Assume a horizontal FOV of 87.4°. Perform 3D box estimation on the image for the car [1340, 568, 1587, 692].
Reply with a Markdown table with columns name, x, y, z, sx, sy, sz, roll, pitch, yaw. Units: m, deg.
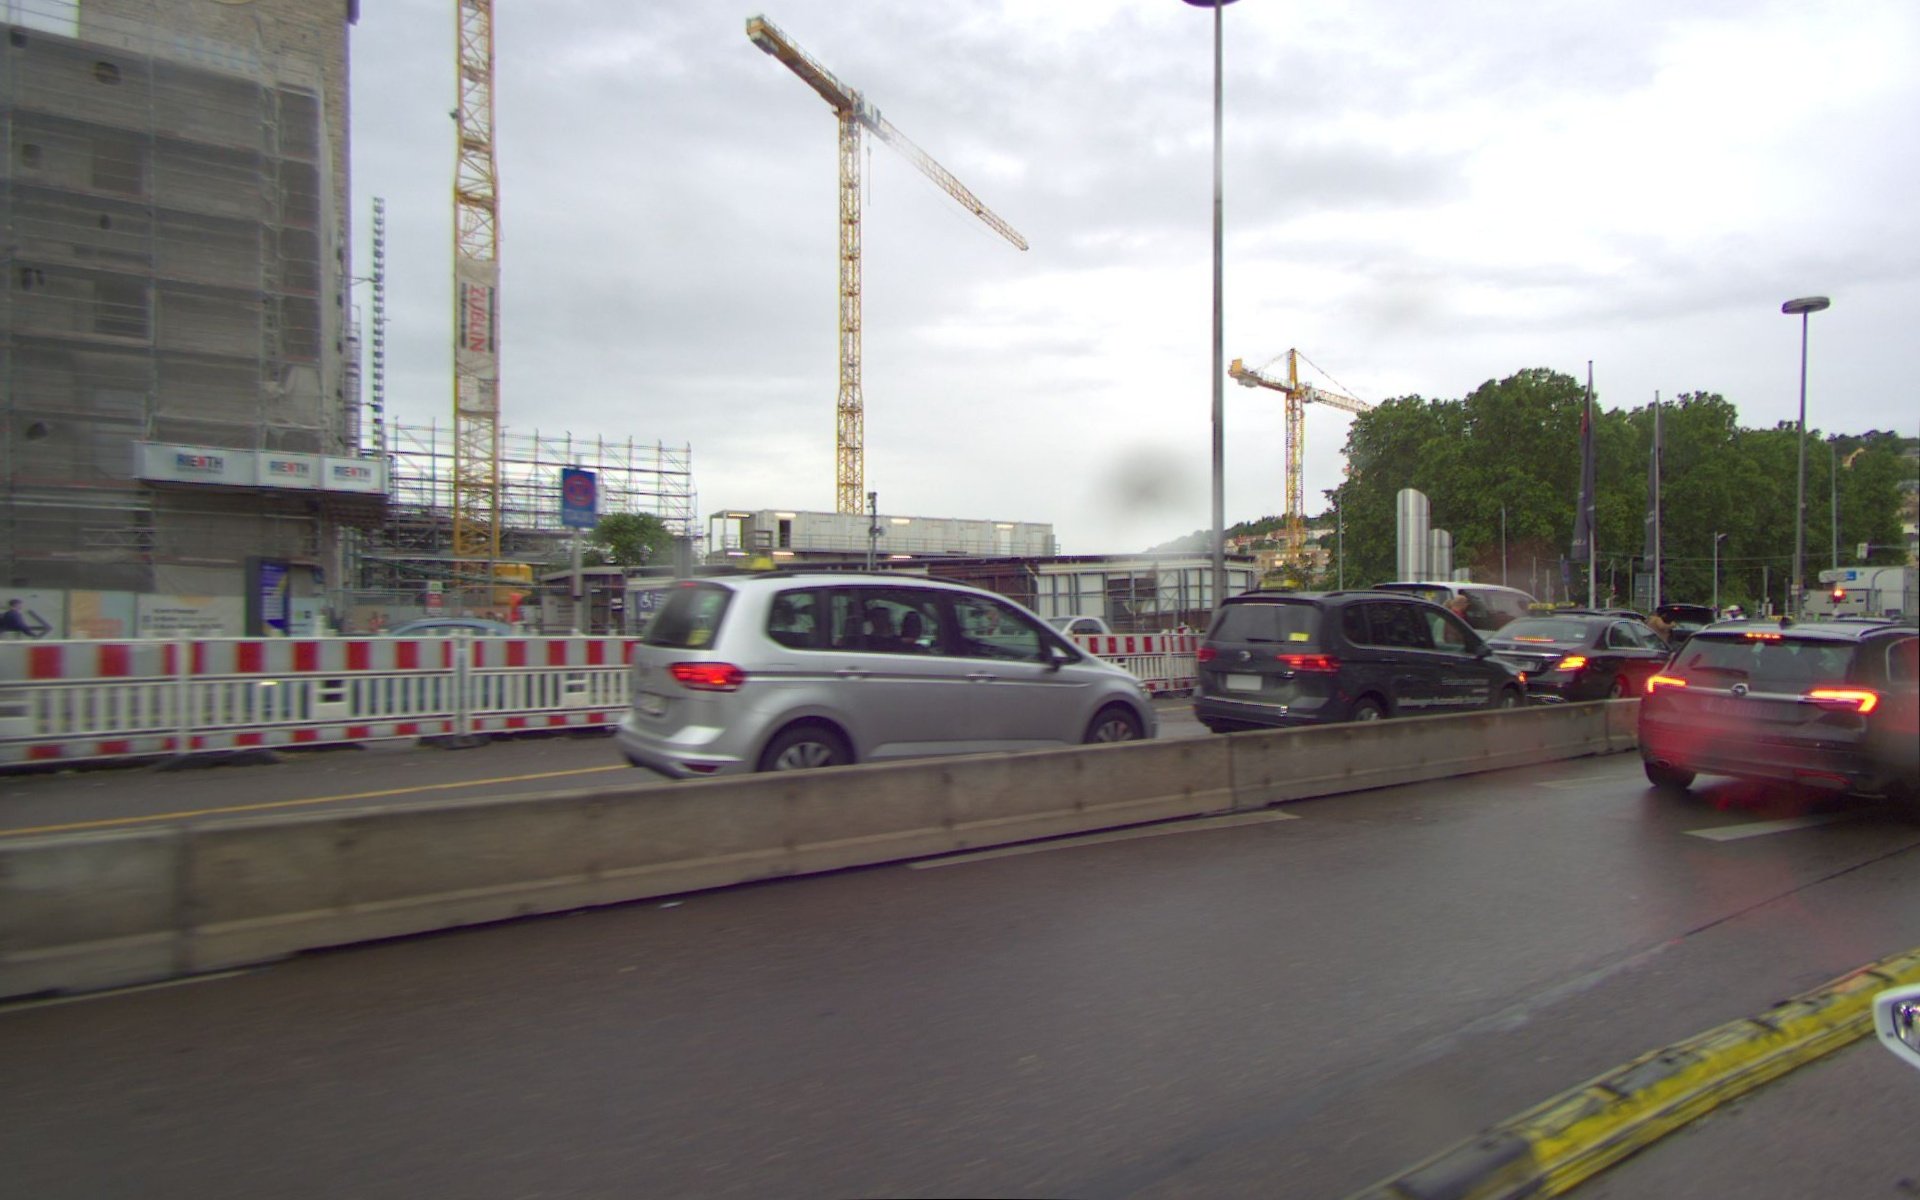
| name | x | y | z | sx | sy | sz | roll | pitch | yaw |
| --- | --- | --- | --- | --- | --- | --- | --- | --- | --- |
| car | 9.597 | 0.547 | 18.938 | 5.319 | 2.040 | 1.979 | 2 | 0 | -37 |

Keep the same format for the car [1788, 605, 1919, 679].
| name | x | y | z | sx | sy | sz | roll | pitch | yaw |
| --- | --- | --- | --- | --- | --- | --- | --- | --- | --- |
| car | 20.931 | 0.956 | 23.261 | 4.118 | 1.550 | 1.977 | 2 | -3 | -40 |

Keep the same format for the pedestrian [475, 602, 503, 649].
| name | x | y | z | sx | sy | sz | roll | pitch | yaw |
| --- | --- | --- | --- | --- | --- | --- | --- | --- | --- |
| pedestrian | -19.196 | 1.045 | 40.979 | 0.788 | 1.906 | 0.659 | 1 | -2 | -2 |

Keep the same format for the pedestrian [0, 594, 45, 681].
| name | x | y | z | sx | sy | sz | roll | pitch | yaw |
| --- | --- | --- | --- | --- | --- | --- | --- | --- | --- |
| pedestrian | -21.439 | 0.836 | 22.521 | 1.008 | 1.906 | 0.836 | 1 | -2 | -1 |

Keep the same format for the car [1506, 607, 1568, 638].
| name | x | y | z | sx | sy | sz | roll | pitch | yaw |
| --- | --- | --- | --- | --- | --- | --- | --- | --- | --- |
| car | 51.872 | 2.045 | 90.294 | 5.725 | 2.737 | 2.371 | 1 | -2 | -32 |

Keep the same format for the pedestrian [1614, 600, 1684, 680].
| name | x | y | z | sx | sy | sz | roll | pitch | yaw |
| --- | --- | --- | --- | --- | --- | --- | --- | --- | --- |
| pedestrian | 14.953 | 0.853 | 21.812 | 1.007 | 1.705 | 0.836 | 0 | 0 | 13 |

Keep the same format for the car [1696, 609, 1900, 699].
| name | x | y | z | sx | sy | sz | roll | pitch | yaw |
| --- | --- | --- | --- | --- | --- | --- | --- | --- | --- |
| car | 16.736 | 1.043 | 19.980 | 4.828 | 1.588 | 1.980 | 2 | -2 | -36 |

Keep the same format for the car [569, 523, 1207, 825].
| name | x | y | z | sx | sy | sz | roll | pitch | yaw |
| --- | --- | --- | --- | --- | --- | --- | --- | --- | --- |
| car | -0.358 | 0.464 | 7.855 | 4.727 | 1.719 | 1.811 | 2 | 0 | -36 |

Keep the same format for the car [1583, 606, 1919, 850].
| name | x | y | z | sx | sy | sz | roll | pitch | yaw |
| --- | --- | --- | --- | --- | --- | --- | --- | --- | --- |
| car | 7.384 | 0.854 | 8.500 | 4.803 | 1.528 | 1.865 | 1 | 0 | -35 |

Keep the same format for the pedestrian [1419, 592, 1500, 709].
| name | x | y | z | sx | sy | sz | roll | pitch | yaw |
| --- | --- | --- | --- | --- | --- | --- | --- | --- | --- |
| pedestrian | 7.981 | 0.781 | 16.084 | 1.007 | 1.807 | 0.836 | 0 | 0 | 15 |

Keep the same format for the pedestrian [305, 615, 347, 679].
| name | x | y | z | sx | sy | sz | roll | pitch | yaw |
| --- | --- | --- | --- | --- | --- | --- | --- | --- | --- |
| pedestrian | -19.144 | 1.418 | 30.324 | 0.786 | 1.906 | 0.662 | 1 | -2 | -2 |

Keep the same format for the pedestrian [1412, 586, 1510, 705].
| name | x | y | z | sx | sy | sz | roll | pitch | yaw |
| --- | --- | --- | --- | --- | --- | --- | --- | --- | --- |
| pedestrian | 7.470 | 0.661 | 14.990 | 0.826 | 1.697 | 1.020 | 1 | 0 | -29 |

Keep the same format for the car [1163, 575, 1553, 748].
| name | x | y | z | sx | sy | sz | roll | pitch | yaw |
| --- | --- | --- | --- | --- | --- | --- | --- | --- | --- |
| car | 4.429 | 0.581 | 10.903 | 4.447 | 1.531 | 1.811 | 2 | 0 | -36 |

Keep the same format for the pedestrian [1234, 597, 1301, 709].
| name | x | y | z | sx | sy | sz | roll | pitch | yaw |
| --- | --- | --- | --- | --- | --- | --- | --- | --- | --- |
| pedestrian | 5.015 | 0.851 | 16.389 | 0.812 | 1.777 | 0.632 | 1 | 0 | -29 |

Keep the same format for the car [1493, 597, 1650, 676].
| name | x | y | z | sx | sy | sz | roll | pitch | yaw |
| --- | --- | --- | --- | --- | --- | --- | --- | --- | --- |
| car | 14.134 | 0.813 | 23.160 | 4.017 | 1.651 | 1.702 | 1 | 0 | -37 |

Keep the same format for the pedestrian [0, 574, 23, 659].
| name | x | y | z | sx | sy | sz | roll | pitch | yaw |
| --- | --- | --- | --- | --- | --- | --- | --- | --- | --- |
| pedestrian | -22.214 | 0.370 | 22.817 | 1.008 | 1.906 | 0.836 | 1 | -2 | -2 |

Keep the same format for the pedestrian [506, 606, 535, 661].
| name | x | y | z | sx | sy | sz | roll | pitch | yaw |
| --- | --- | --- | --- | --- | --- | --- | --- | --- | --- |
| pedestrian | -15.519 | 1.195 | 35.471 | 0.718 | 1.906 | 0.640 | 1 | -2 | -2 |

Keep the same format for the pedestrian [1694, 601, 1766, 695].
| name | x | y | z | sx | sy | sz | roll | pitch | yaw |
| --- | --- | --- | --- | --- | --- | --- | --- | --- | --- |
| pedestrian | 17.206 | 1.047 | 22.470 | 0.820 | 2.040 | 1.028 | 0 | 0 | 0 |

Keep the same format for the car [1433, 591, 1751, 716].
| name | x | y | z | sx | sy | sz | roll | pitch | yaw |
| --- | --- | --- | --- | --- | --- | --- | --- | --- | --- |
| car | 9.265 | 0.712 | 14.602 | 4.950 | 1.531 | 1.961 | 2 | 0 | -32 |
